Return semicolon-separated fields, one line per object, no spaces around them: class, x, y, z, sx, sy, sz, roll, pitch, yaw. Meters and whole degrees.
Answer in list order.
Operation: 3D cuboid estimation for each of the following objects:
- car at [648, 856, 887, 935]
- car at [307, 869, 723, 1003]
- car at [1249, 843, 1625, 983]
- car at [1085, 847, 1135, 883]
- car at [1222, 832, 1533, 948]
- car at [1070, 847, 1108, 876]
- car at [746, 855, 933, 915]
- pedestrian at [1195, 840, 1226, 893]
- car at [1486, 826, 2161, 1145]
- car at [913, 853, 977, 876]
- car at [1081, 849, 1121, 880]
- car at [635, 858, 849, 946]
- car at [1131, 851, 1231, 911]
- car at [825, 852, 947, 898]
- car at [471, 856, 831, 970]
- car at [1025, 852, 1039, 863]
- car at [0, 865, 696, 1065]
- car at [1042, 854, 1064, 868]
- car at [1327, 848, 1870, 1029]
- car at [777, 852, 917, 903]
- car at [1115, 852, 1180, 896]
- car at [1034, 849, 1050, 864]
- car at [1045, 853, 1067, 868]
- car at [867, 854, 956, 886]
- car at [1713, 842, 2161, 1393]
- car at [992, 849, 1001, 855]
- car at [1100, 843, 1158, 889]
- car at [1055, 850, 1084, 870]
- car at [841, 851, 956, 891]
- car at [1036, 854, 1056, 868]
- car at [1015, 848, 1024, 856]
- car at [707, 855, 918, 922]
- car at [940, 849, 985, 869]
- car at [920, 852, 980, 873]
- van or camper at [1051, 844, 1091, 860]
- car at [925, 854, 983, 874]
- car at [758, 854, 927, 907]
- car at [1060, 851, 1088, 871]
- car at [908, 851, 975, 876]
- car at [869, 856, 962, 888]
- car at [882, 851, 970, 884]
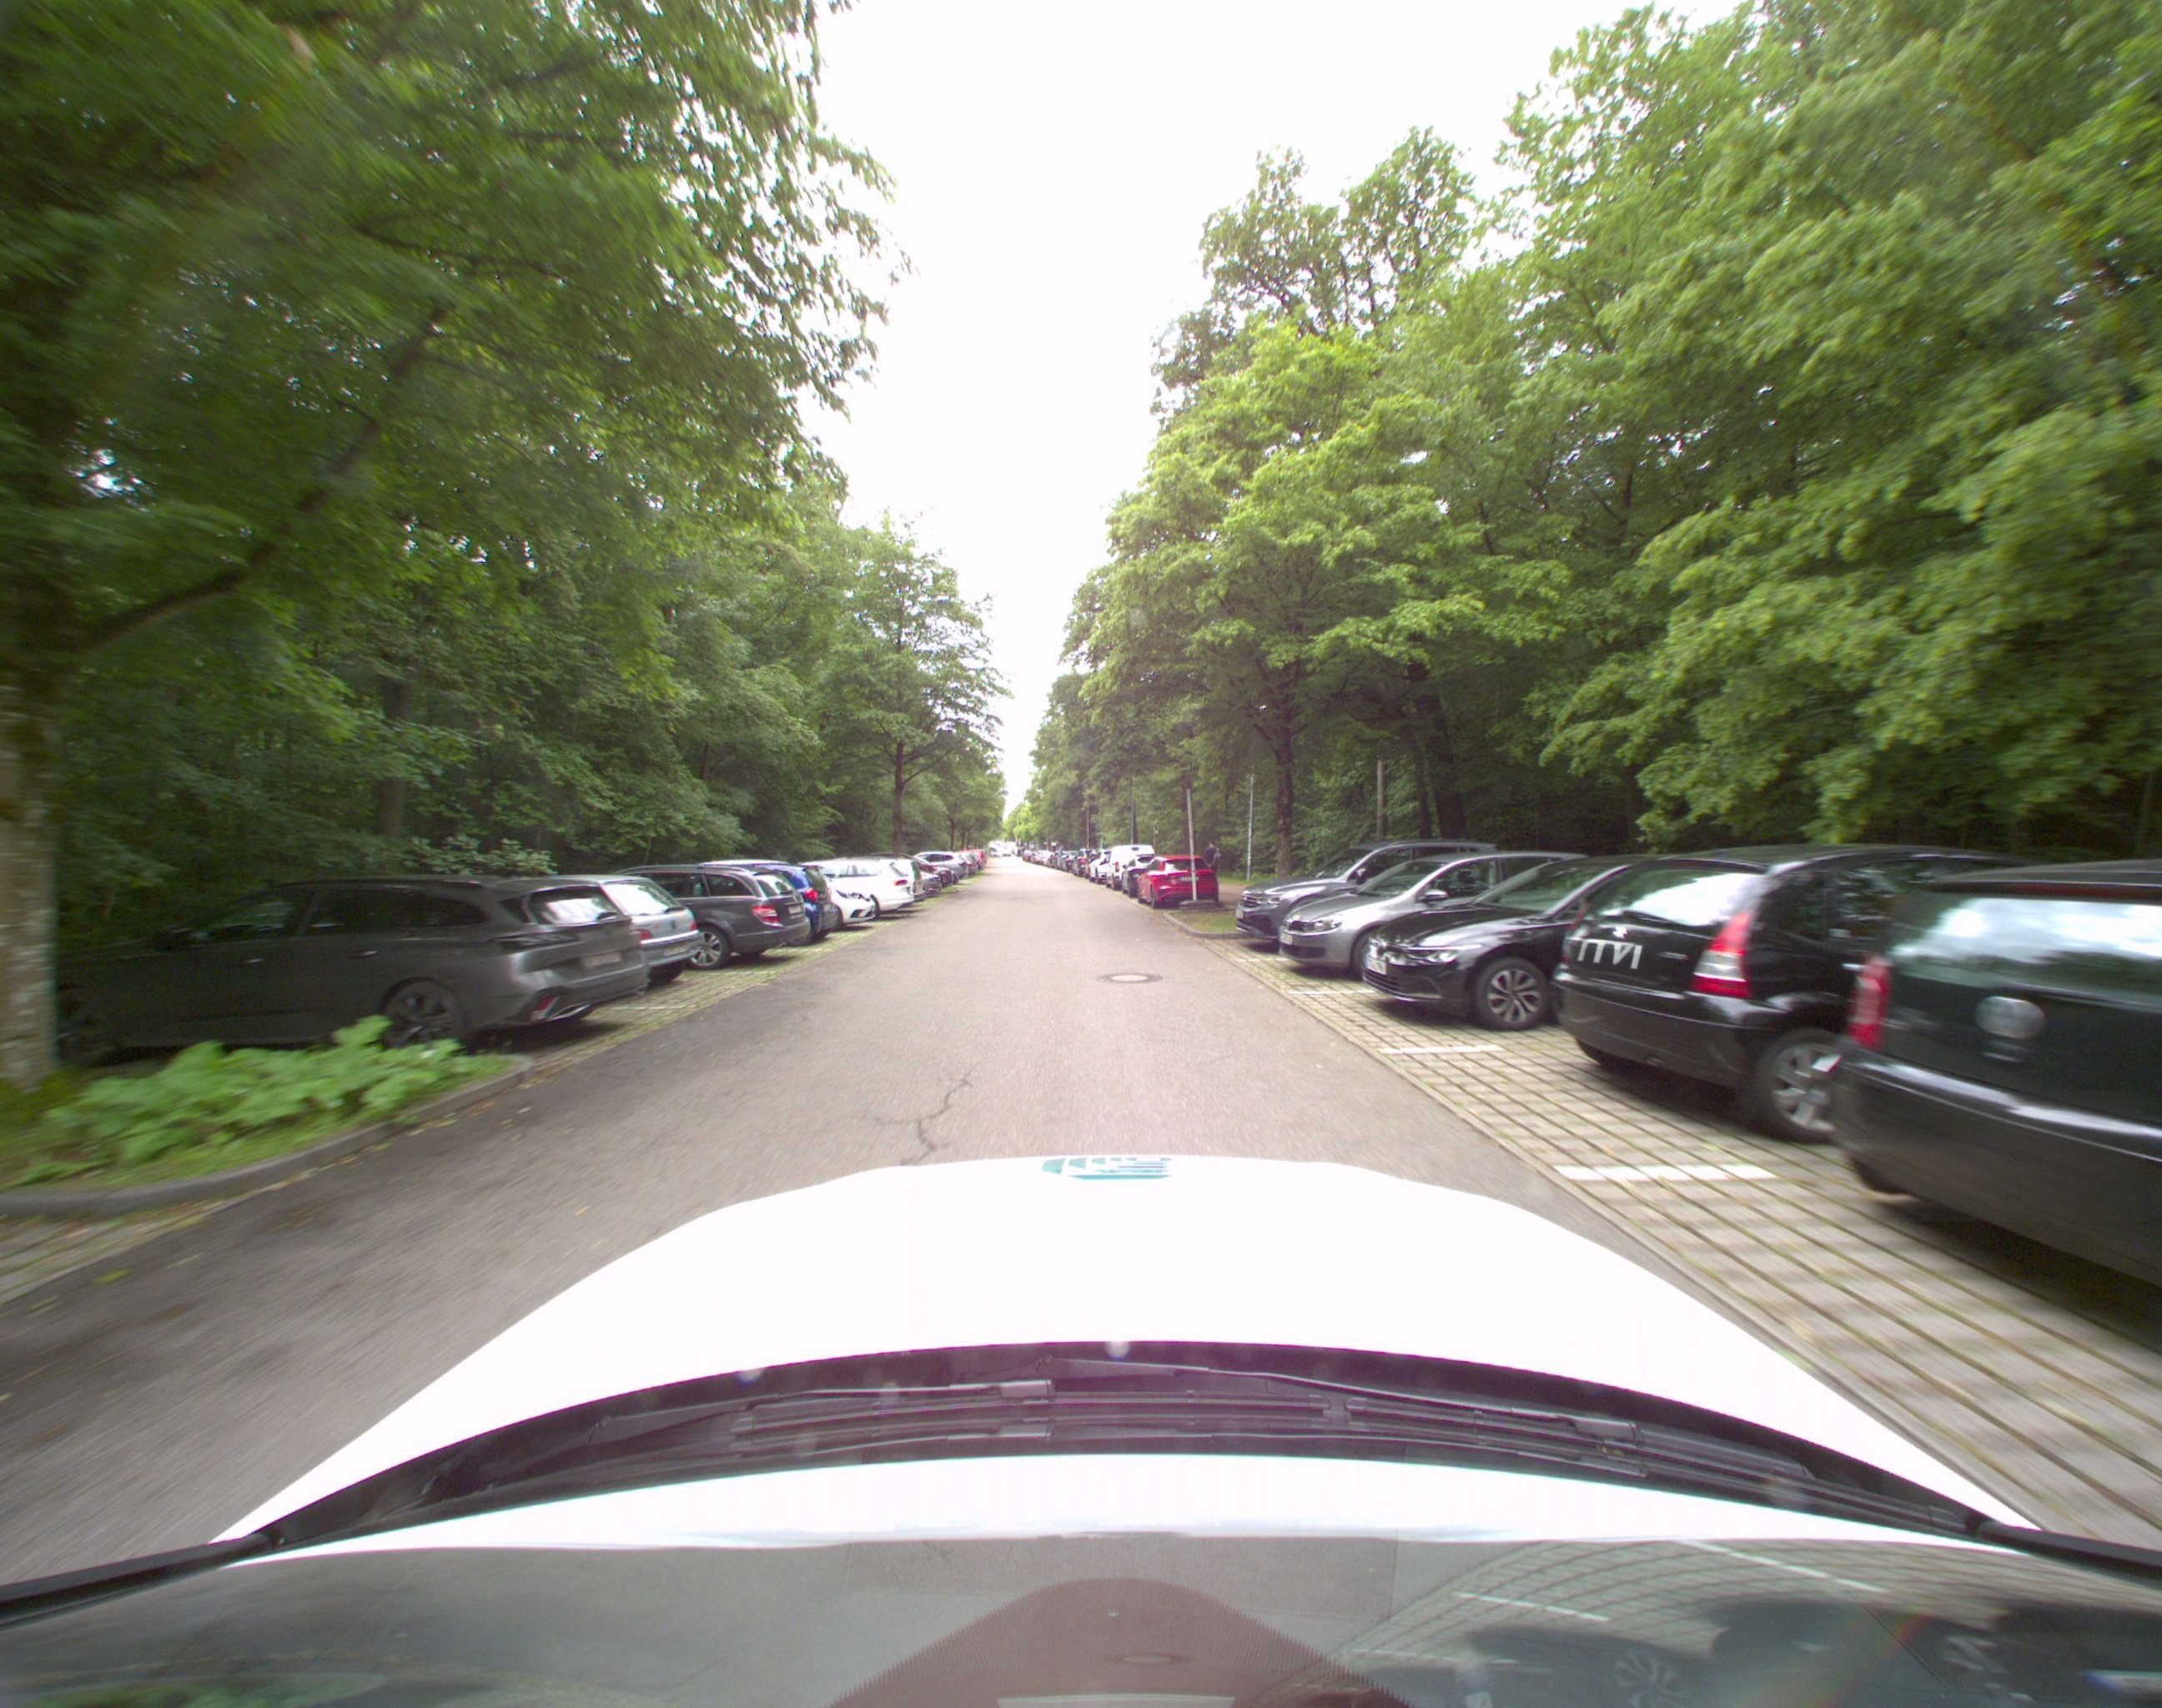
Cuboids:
car;-6.486;0.828;17.298;4.360;1.486;1.888;-1;0;-6
car;-6.581;0.915;9.782;3.743;1.387;1.757;-1;0;1
car;4.381;0.661;10.407;3.983;1.551;1.971;0;0;-7
car;1.365;0.512;40.253;1.784;1.662;4.707;0;0;-7
car;4.552;0.519;12.989;4.254;1.666;1.957;0;0;-2
car;0.484;0.443;51.786;1.887;1.747;4.938;0;0;-6
car;-6.505;0.803;22.354;4.553;1.486;1.867;-1;0;-4
pedestrian;4.291;0.418;27.040;0.816;1.726;1.002;0;0;-4
car;4.880;0.640;5.050;3.815;1.531;1.850;-1;0;-1
car;-9.045;0.703;54.622;4.105;1.480;1.992;-1;0;-7
car;1.077;0.558;46.100;1.748;1.607;4.437;0;0;-6
car;-6.087;0.827;14.910;3.212;1.444;1.678;-1;0;-4
car;2.698;0.680;23.159;1.989;1.479;4.966;0;0;-3
car;-6.999;0.734;29.611;4.028;1.555;1.916;-1;0;-6
car;-6.218;0.813;12.203;4.252;1.486;2.058;-1;0;0
car;-6.978;0.420;116.503;1.918;1.520;3.880;0;0;-5
car;-6.102;0.855;7.187;4.390;1.424;2.035;-1;0;0
car;-2.972;0.710;85.678;1.935;1.475;3.982;0;0;-7
car;4.622;0.699;7.770;3.974;1.475;1.952;0;0;0
car;-7.628;0.754;26.956;4.234;1.550;1.842;-1;0;-9
car;2.248;0.654;28.690;1.722;1.422;4.279;0;0;-3
car;-4.664;0.281;97.138;1.708;1.728;3.992;0;0;-6
car;-2.409;0.607;78.752;1.666;1.444;3.802;0;0;-9
car;-8.196;0.771;39.650;4.014;1.465;1.797;-1;0;-3
car;4.792;0.672;2.810;3.814;1.457;1.809;-1;0;0
car;-17.471;-0.454;167.756;1.736;1.161;3.406;0;3;-4
car;1.944;0.449;34.080;1.742;1.780;4.543;0;0;-6
car;-1.020;0.482;68.161;1.976;1.537;4.611;0;0;-6
car;-7.663;0.696;34.575;4.508;1.584;1.924;-1;0;-5
car;-3.970;0.761;91.463;1.722;1.494;3.759;0;0;-11
car;-12.918;-0.479;170.669;1.627;1.415;3.403;0;3;-7
car;-6.427;0.796;20.011;4.559;1.447;2.080;-1;0;-8
car;-10.809;0.443;74.448;3.986;1.816;2.108;-1;0;-9
car;-10.746;0.672;66.972;4.728;1.595;1.954;-1;0;-8
van or camper;-1.865;-0.327;157.541;7.350;2.888;2.632;-1;3;-21
car;-9.697;0.722;62.014;4.297;1.449;1.750;-1;0;-11
car;-7.069;0.752;24.525;4.555;1.486;1.937;0;0;-5
car;-0.585;0.514;62.333;1.635;1.477;4.140;-1;0;-8
car;-8.843;0.605;51.913;4.087;1.523;1.924;-1;0;-9
car;-7.503;0.800;37.280;3.982;1.364;1.783;0;0;-6
car;-7.939;0.674;41.936;4.217;1.633;2.026;0;0;-5
